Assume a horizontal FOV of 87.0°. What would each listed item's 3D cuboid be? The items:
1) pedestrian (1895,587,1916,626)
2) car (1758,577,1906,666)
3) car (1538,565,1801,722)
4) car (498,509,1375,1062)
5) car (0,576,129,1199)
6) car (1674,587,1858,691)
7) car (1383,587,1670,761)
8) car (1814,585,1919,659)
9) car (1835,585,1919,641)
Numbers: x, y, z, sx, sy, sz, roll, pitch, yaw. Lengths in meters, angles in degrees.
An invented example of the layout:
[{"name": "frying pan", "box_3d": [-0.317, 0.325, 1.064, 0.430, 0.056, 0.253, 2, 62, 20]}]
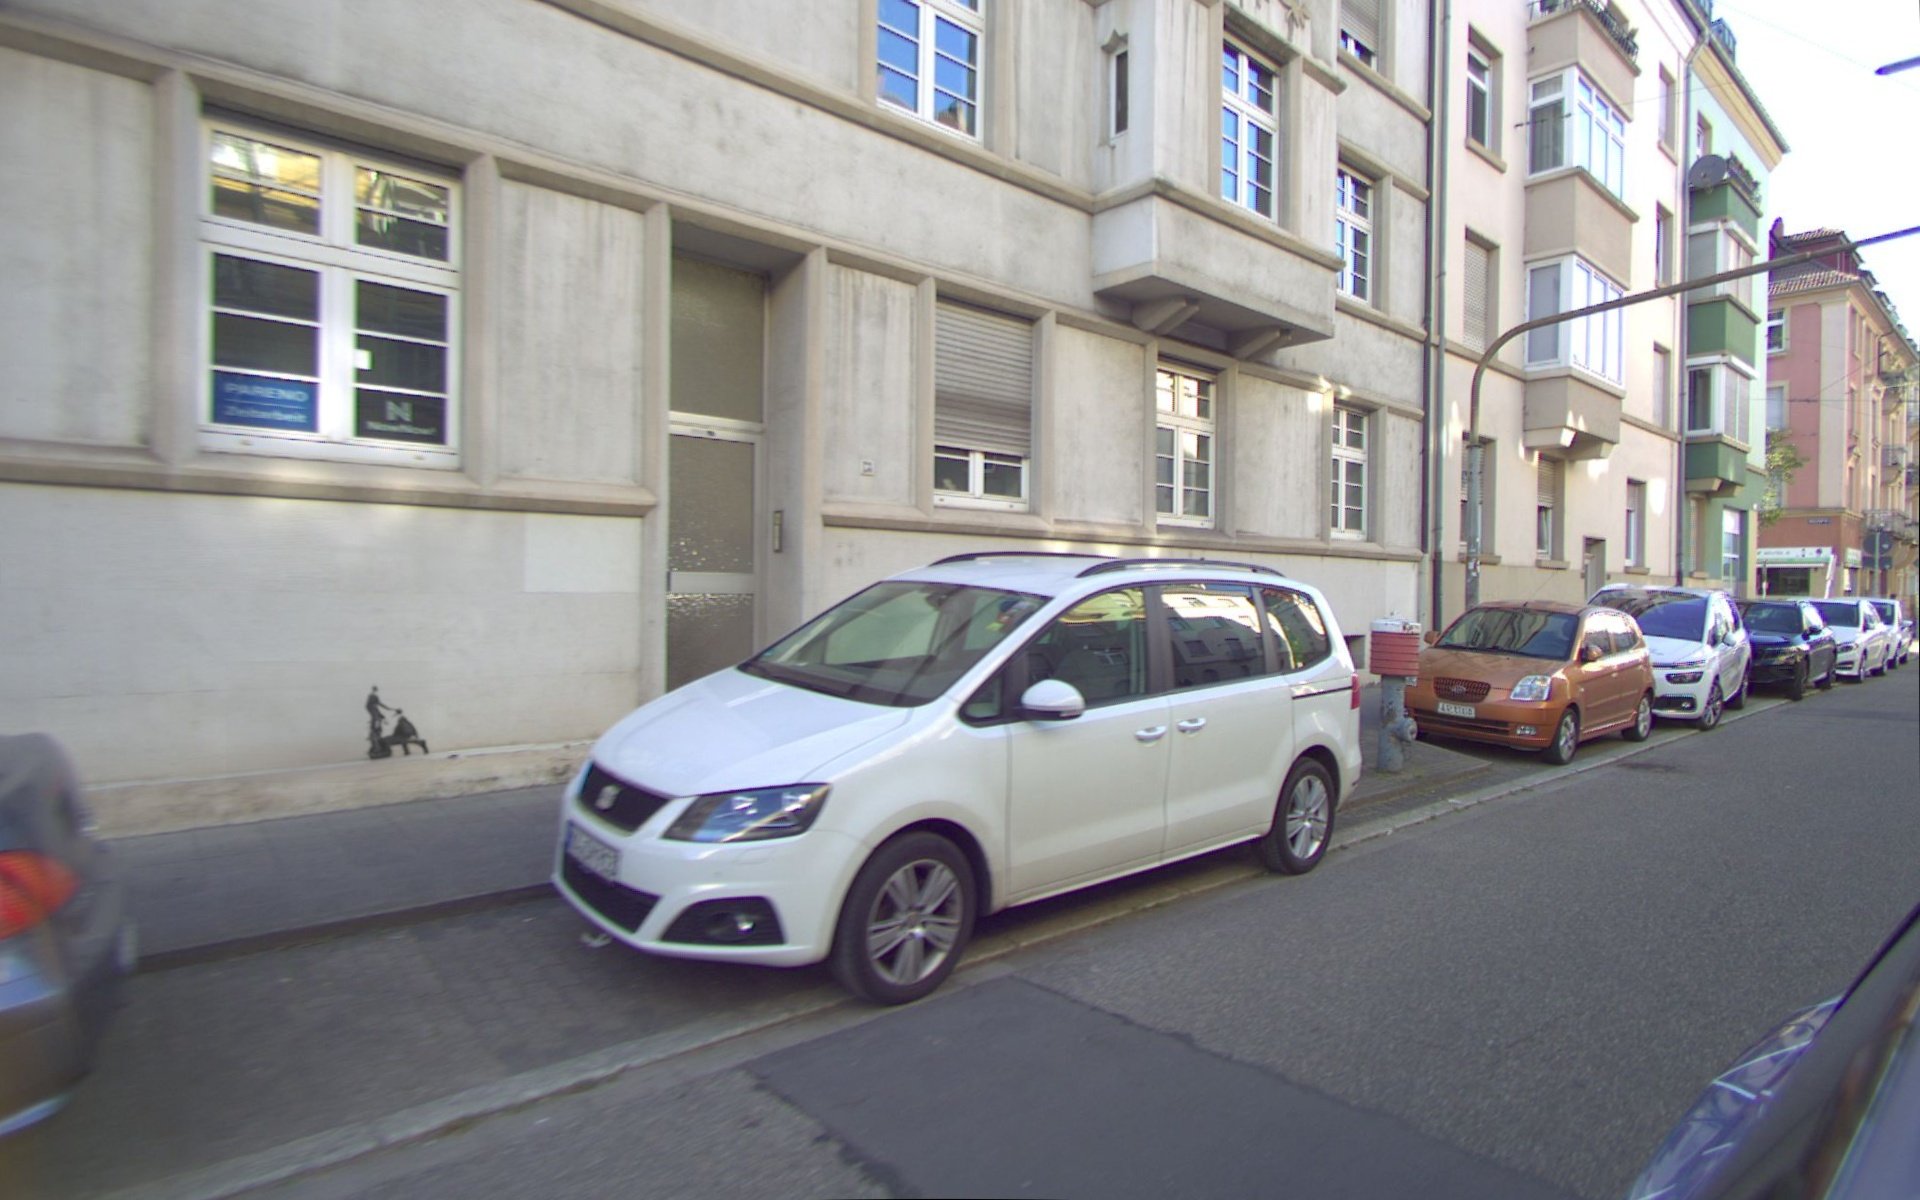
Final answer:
[{"name": "pedestrian", "box_3d": [37.201, 0.238, 39.805, 0.483, 1.510, 0.526, 0, 1, -40]}, {"name": "car", "box_3d": [17.431, 0.360, 20.181, 3.892, 1.610, 1.702, 0, 1, -41]}, {"name": "car", "box_3d": [9.389, 0.460, 13.278, 4.112, 1.719, 1.703, 0, 2, -39]}, {"name": "car", "box_3d": [0.236, 0.529, 5.264, 4.510, 1.714, 1.712, 0, 2, -41]}, {"name": "car", "box_3d": [-3.991, 0.696, 1.587, 4.130, 1.470, 1.703, 0, 2, -39]}, {"name": "car", "box_3d": [13.562, 0.564, 16.966, 3.795, 1.524, 1.702, 0, 1, -40]}, {"name": "car", "box_3d": [6.009, 0.638, 10.618, 3.305, 1.502, 1.570, 0, 2, -41]}, {"name": "car", "box_3d": [21.702, 0.467, 24.011, 3.296, 1.610, 1.702, 0, 2, -41]}, {"name": "car", "box_3d": [26.986, 0.347, 29.522, 3.714, 1.492, 1.702, 0, 2, -41]}]
